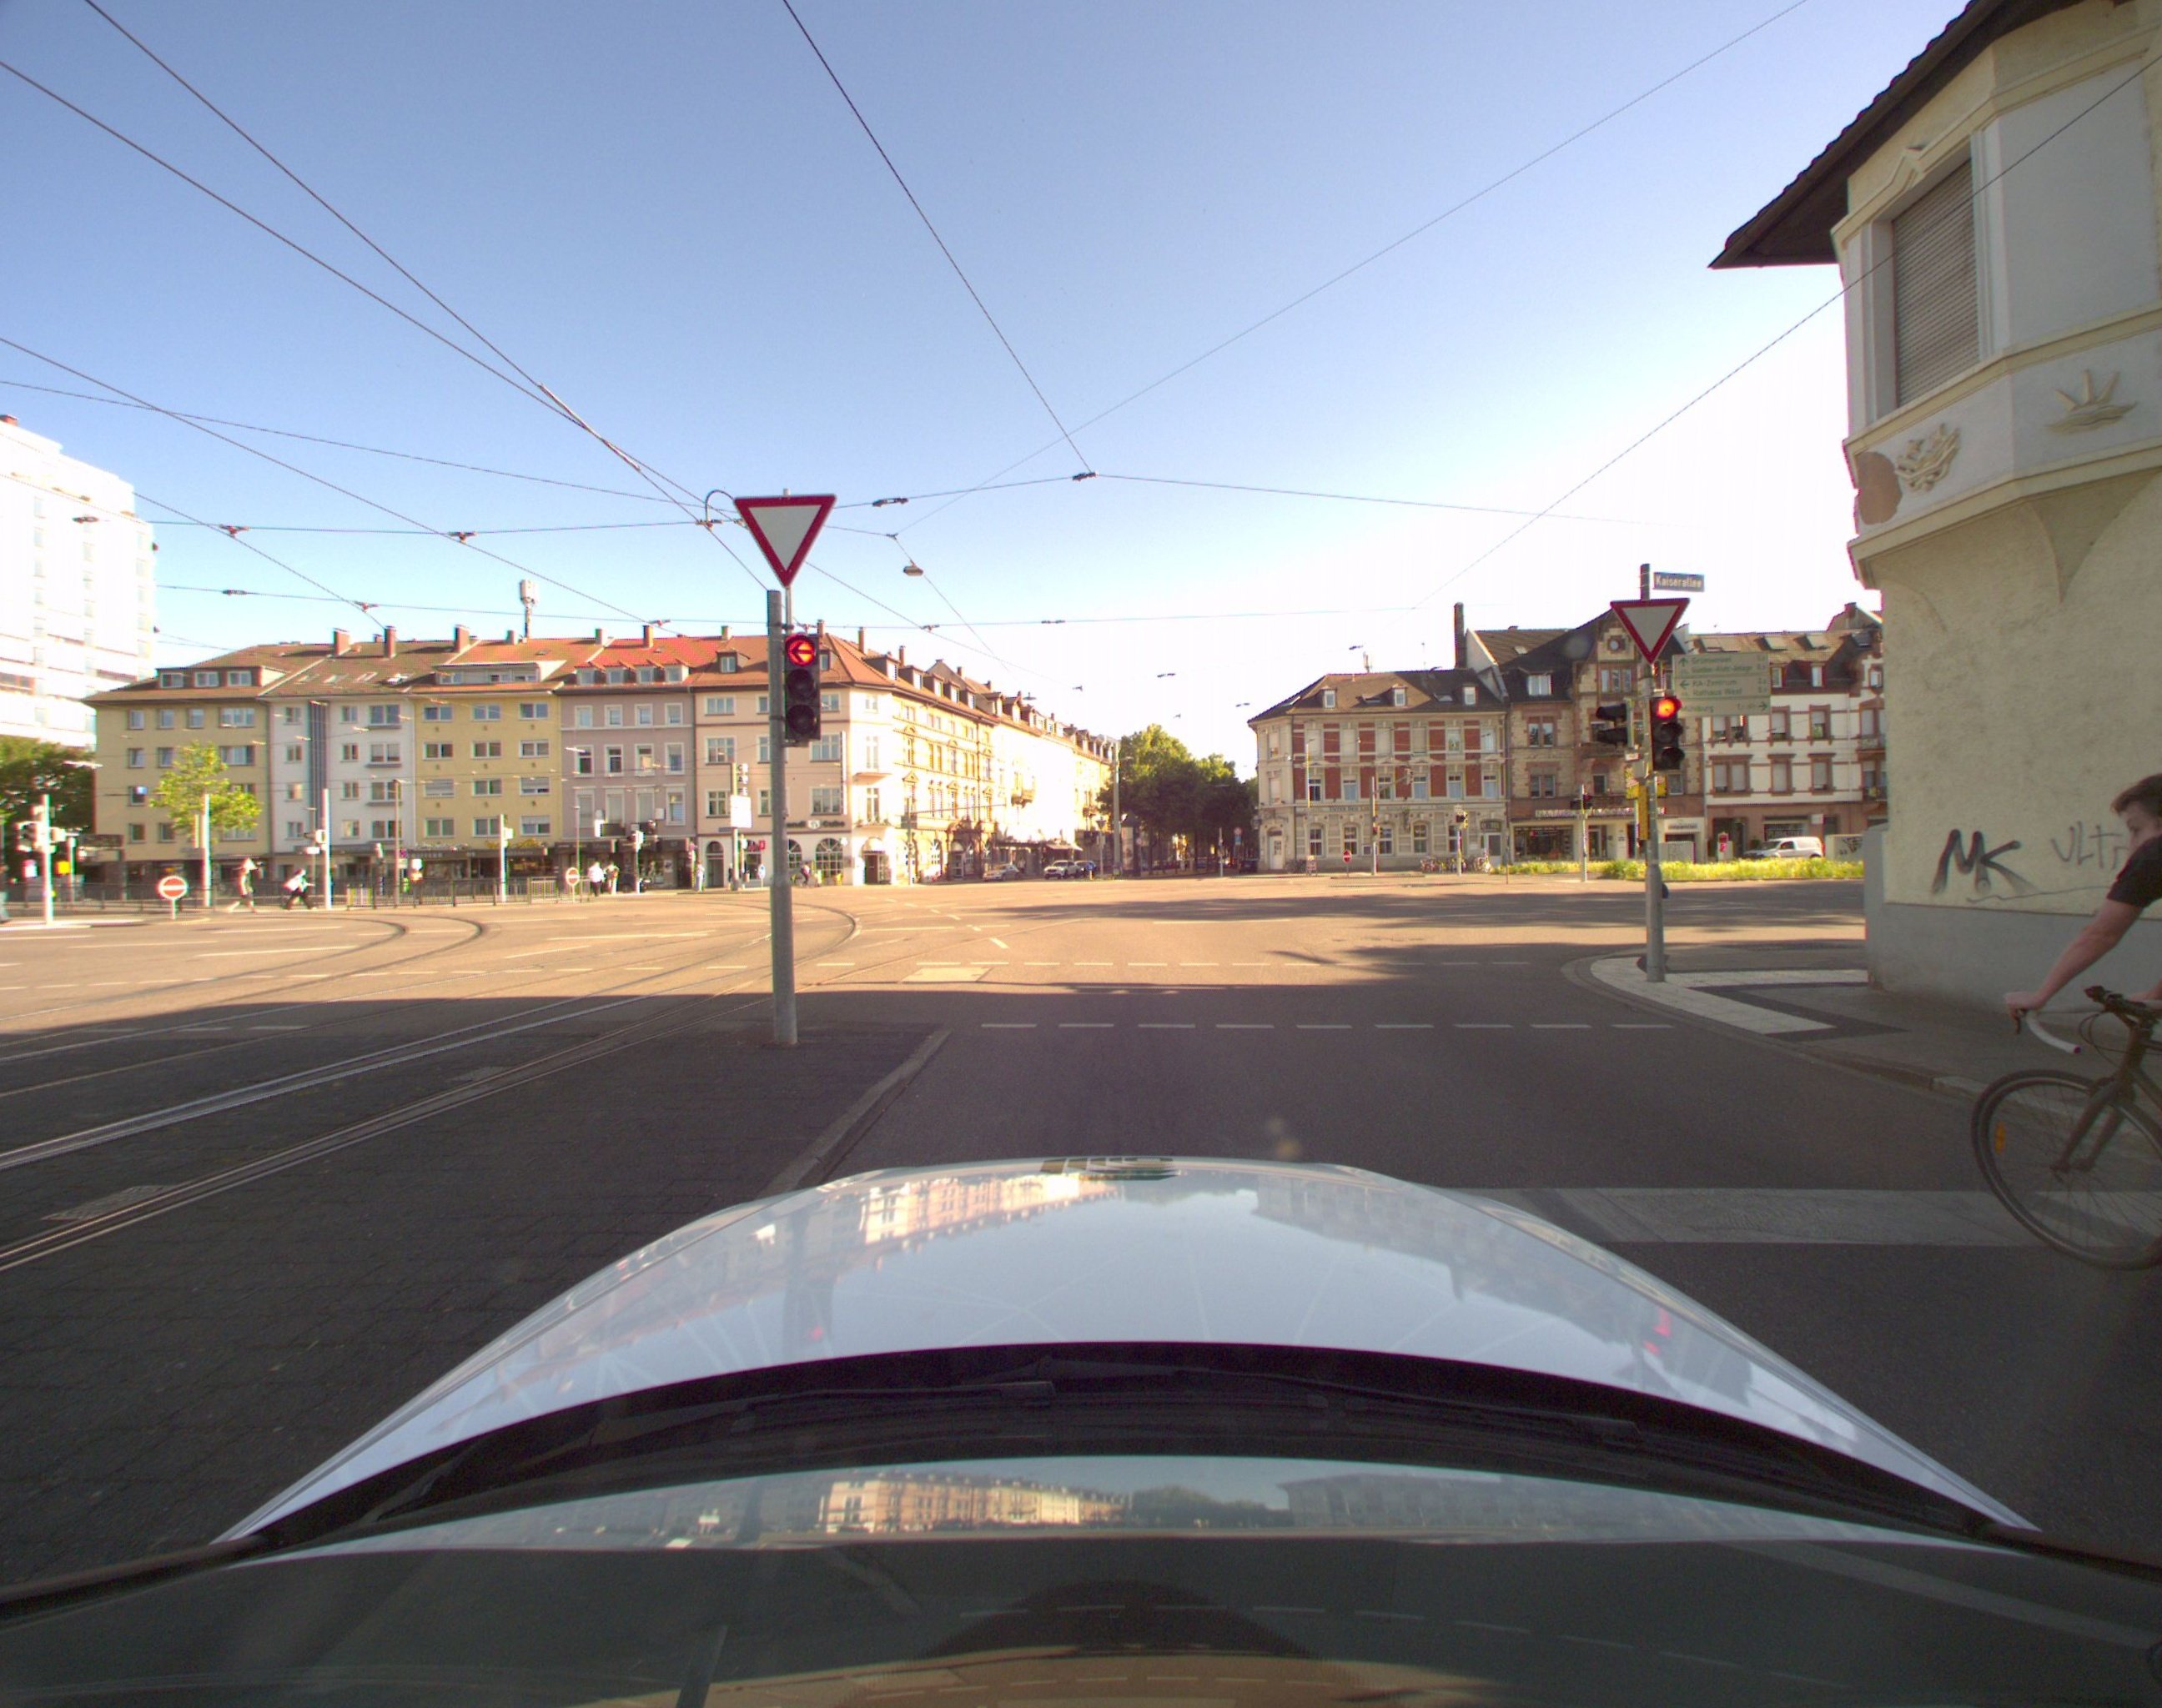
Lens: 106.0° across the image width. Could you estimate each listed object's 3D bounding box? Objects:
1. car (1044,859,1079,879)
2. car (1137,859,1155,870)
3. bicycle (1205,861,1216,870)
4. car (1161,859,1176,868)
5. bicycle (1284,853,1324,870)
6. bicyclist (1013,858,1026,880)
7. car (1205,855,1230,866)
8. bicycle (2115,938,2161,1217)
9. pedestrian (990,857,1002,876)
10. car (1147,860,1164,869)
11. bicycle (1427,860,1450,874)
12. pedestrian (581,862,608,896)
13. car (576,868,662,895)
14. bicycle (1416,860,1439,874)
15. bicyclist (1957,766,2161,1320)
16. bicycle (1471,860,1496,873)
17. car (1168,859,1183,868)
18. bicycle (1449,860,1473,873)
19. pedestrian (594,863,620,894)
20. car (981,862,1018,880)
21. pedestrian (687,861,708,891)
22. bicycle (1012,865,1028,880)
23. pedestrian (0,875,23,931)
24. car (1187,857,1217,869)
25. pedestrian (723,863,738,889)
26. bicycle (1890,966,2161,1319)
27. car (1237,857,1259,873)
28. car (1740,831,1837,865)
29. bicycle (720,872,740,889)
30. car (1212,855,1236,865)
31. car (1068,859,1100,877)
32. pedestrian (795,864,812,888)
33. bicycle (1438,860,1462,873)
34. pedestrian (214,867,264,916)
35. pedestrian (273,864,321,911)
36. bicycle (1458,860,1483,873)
[{"bbox_3d":[-1.602,1.216,67.509,1.664,1.483,3.789,-2,0,19],"label":"car"},{"bbox_3d":[9.170,1.498,115.447,1.664,1.354,3.608,-2,0,19],"label":"car"},{"bbox_3d":[15.768,1.397,99.280,0.636,1.021,1.839,0,-1,-12],"label":"bicycle"},{"bbox_3d":[14.028,1.509,130.609,1.664,1.354,3.608,-2,0,19],"label":"car"},{"bbox_3d":[15.608,0.503,57.060,2.547,1.174,0.818,0,-1,-1],"label":"bicycle"},{"bbox_3d":[-4.938,1.211,65.413,0.772,1.803,1.060,-1,-1,16],"label":"bicyclist"},{"bbox_3d":[21.444,1.067,127.722,3.550,1.648,1.691,-2,0,19],"label":"car"},{"bbox_3d":[4.467,0.921,2.461,0.515,1.090,1.799,-1,2,5],"label":"bicycle"},{"bbox_3d":[-7.727,1.109,73.807,0.770,1.670,0.834,-1,-1,17],"label":"pedestrian"},{"bbox_3d":[11.239,1.549,122.363,1.664,1.354,3.608,-2,0,19],"label":"car"},{"bbox_3d":[23.166,0.824,52.757,0.656,0.840,2.162,0,-1,3],"label":"bicycle"},{"bbox_3d":[-23.278,1.187,38.962,0.657,1.577,0.889,-1,-1,29],"label":"pedestrian"},{"bbox_3d":[-30.361,1.787,53.632,4.347,1.711,2.308,0,-1,4],"label":"car"},{"bbox_3d":[22.430,0.829,52.698,0.656,0.840,2.162,0,-1,3],"label":"bicycle"},{"bbox_3d":[3.587,0.575,2.500,0.570,1.701,1.117,-1,0,2],"label":"bicyclist"},{"bbox_3d":[26.013,0.802,52.719,0.656,0.840,2.162,0,-1,3],"label":"bicycle"},{"bbox_3d":[15.714,1.529,135.602,1.664,1.354,3.608,-2,0,19],"label":"car"},{"bbox_3d":[24.573,0.813,52.750,0.656,0.840,2.162,0,-1,3],"label":"bicycle"},{"bbox_3d":[-24.682,1.284,42.423,0.842,1.577,0.836,-1,-1,11],"label":"pedestrian"},{"bbox_3d":[-6.706,1.426,67.224,1.664,1.354,3.608,-2,0,19],"label":"car"},{"bbox_3d":[-19.916,1.140,42.319,0.545,1.577,0.838,-1,-1,29],"label":"pedestrian"},{"bbox_3d":[-4.891,1.486,65.532,0.696,1.118,1.642,-1,-1,16],"label":"bicycle"},{"bbox_3d":[-34.224,1.548,25.640,0.796,1.733,0.757,-1,1,4],"label":"pedestrian"},{"bbox_3d":[17.201,1.264,115.456,3.870,1.648,1.691,-1,0,19],"label":"car"},{"bbox_3d":[-22.779,1.429,52.951,0.580,1.670,0.753,0,-1,2],"label":"pedestrian"},{"bbox_3d":[3.611,0.956,2.508,0.516,0.970,1.750,-1,0,2],"label":"bicycle"},{"bbox_3d":[16.905,1.102,82.335,1.664,1.483,3.967,-2,0,19],"label":"car"},{"bbox_3d":[45.448,-0.375,52.407,4.406,2.013,2.002,-1,0,4],"label":"car"},{"bbox_3d":[-22.779,1.726,52.894,0.570,1.077,1.497,0,-1,2],"label":"bicycle"},{"bbox_3d":[23.349,0.974,133.156,3.550,1.648,1.691,-2,0,19],"label":"car"},{"bbox_3d":[0.309,1.244,73.768,1.664,1.483,3.967,-2,0,19],"label":"car"},{"bbox_3d":[-18.263,1.443,53.576,0.838,1.577,0.718,0,-1,-45],"label":"pedestrian"},{"bbox_3d":[23.890,0.818,52.743,0.656,0.840,2.162,0,-1,3],"label":"bicycle"},{"bbox_3d":[-30.211,1.336,29.220,0.916,1.677,1.065,-1,1,34],"label":"pedestrian"},{"bbox_3d":[-29.206,1.226,30.347,0.916,1.677,1.065,-1,1,34],"label":"pedestrian"},{"bbox_3d":[25.210,0.808,52.705,0.656,0.840,2.162,0,-1,3],"label":"bicycle"}]
